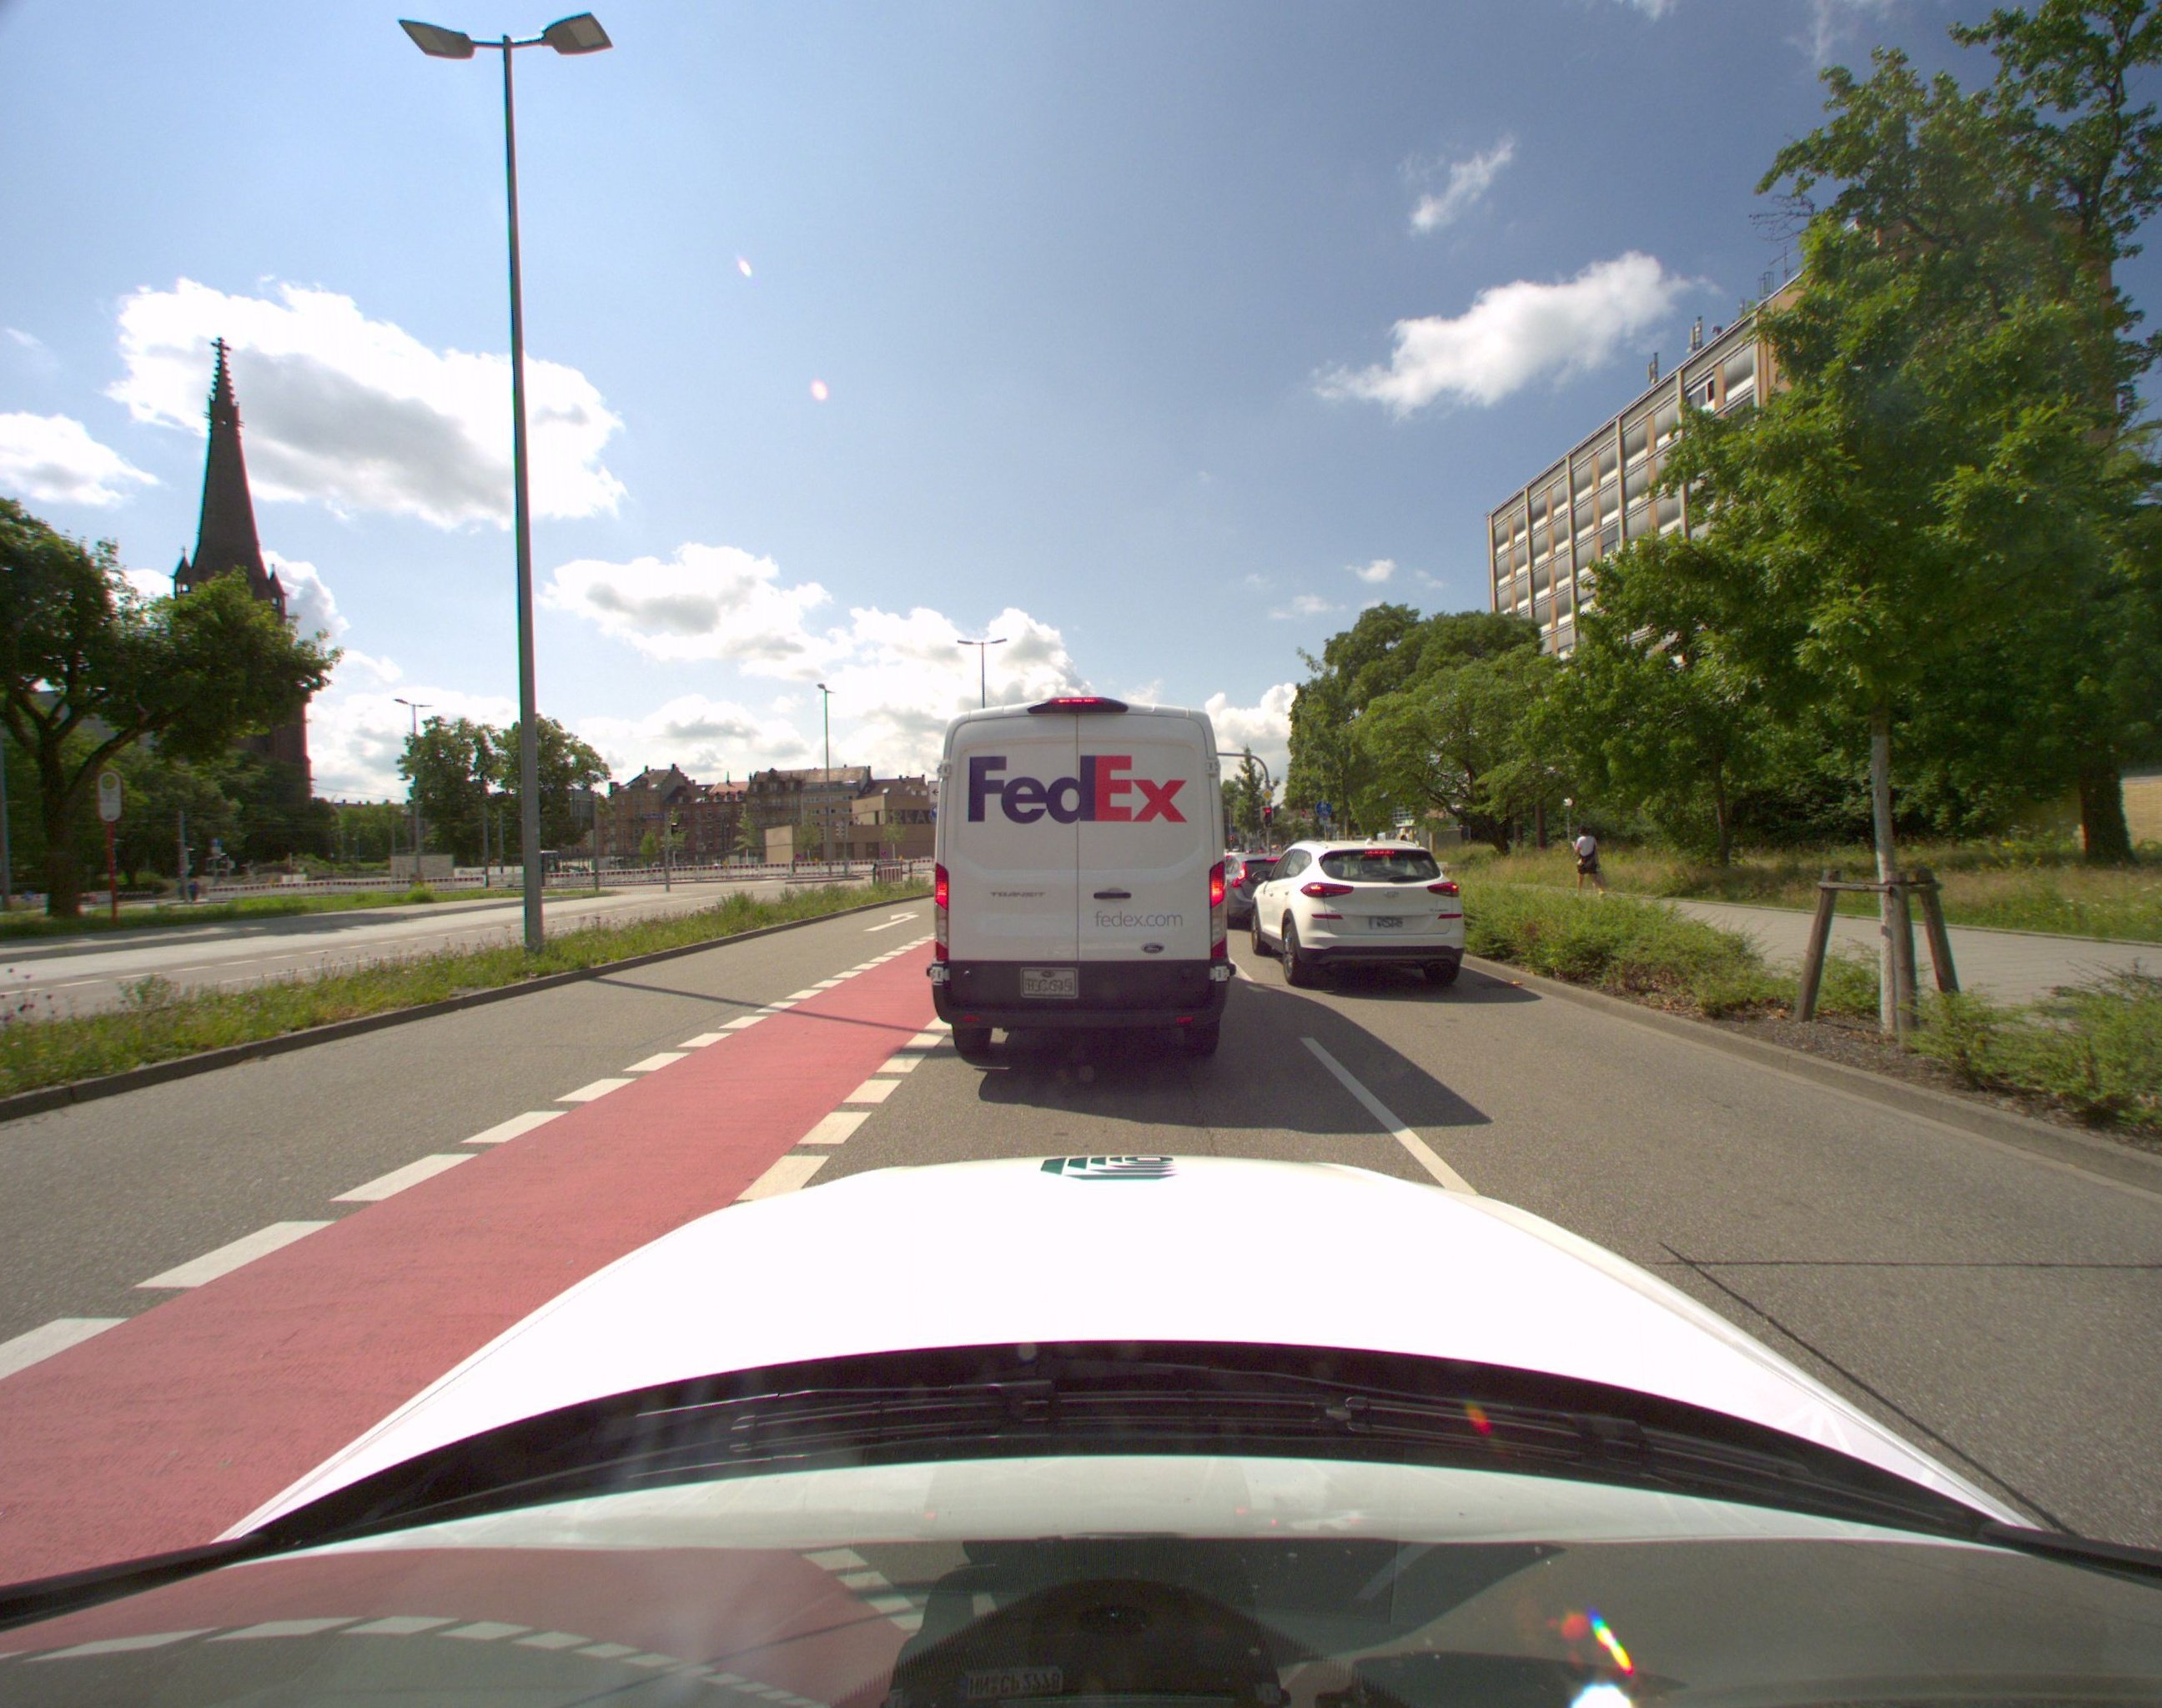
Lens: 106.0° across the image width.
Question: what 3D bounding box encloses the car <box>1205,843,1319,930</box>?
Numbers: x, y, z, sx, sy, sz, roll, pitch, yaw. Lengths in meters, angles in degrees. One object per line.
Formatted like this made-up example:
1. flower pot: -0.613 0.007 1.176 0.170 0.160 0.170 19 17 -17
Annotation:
1. car: 3.610 0.589 16.827 1.684 1.549 3.724 -2 0 3

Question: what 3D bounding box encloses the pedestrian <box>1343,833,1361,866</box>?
1. pedestrian: 14.745 -0.238 44.319 0.755 1.789 0.818 -2 0 7

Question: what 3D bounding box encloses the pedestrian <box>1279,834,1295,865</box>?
1. pedestrian: 12.648 -0.288 49.997 0.755 1.849 0.817 -2 0 3

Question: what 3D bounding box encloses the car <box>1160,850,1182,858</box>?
1. car: 17.873 -0.008 161.948 4.217 1.498 1.741 -2 0 1

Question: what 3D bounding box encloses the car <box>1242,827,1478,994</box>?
1. car: 3.268 0.570 10.386 1.807 1.678 3.978 -2 0 3

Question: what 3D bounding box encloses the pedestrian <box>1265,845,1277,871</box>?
1. pedestrian: 13.727 0.315 58.873 0.753 1.849 0.820 -2 0 16

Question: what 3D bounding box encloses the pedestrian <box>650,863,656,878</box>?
1. pedestrian: -45.251 1.742 86.111 0.420 1.652 0.420 -1 -1 36

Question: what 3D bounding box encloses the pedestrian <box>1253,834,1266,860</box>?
1. pedestrian: 13.067 -0.523 59.749 0.810 1.849 0.762 -2 0 5

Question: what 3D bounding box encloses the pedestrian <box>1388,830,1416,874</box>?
1. pedestrian: 12.444 -0.079 31.560 0.755 1.655 0.817 -2 0 5

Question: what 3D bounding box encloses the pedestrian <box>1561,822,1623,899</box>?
1. pedestrian: 10.721 0.133 17.113 0.756 1.557 0.817 -2 0 2

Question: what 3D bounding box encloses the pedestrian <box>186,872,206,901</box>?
1. pedestrian: -62.506 2.265 57.522 0.642 2.013 0.634 -2 0 12

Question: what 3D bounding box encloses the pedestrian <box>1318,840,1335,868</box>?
1. pedestrian: 16.797 0.008 55.778 0.758 1.849 0.814 -2 0 -8

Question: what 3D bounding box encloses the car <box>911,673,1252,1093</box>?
1. car: 0.126 0.175 7.321 2.064 2.581 4.432 -2 0 3

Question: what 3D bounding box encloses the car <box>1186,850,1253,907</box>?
1. car: 3.897 0.634 23.365 1.493 1.464 3.477 -2 0 3

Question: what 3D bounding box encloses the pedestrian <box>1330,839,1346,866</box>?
1. pedestrian: 17.651 -0.091 55.957 0.758 1.849 0.814 -2 0 -6

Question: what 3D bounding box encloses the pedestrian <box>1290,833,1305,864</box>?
1. pedestrian: 13.415 -0.328 50.484 0.755 1.849 0.817 -2 0 5
